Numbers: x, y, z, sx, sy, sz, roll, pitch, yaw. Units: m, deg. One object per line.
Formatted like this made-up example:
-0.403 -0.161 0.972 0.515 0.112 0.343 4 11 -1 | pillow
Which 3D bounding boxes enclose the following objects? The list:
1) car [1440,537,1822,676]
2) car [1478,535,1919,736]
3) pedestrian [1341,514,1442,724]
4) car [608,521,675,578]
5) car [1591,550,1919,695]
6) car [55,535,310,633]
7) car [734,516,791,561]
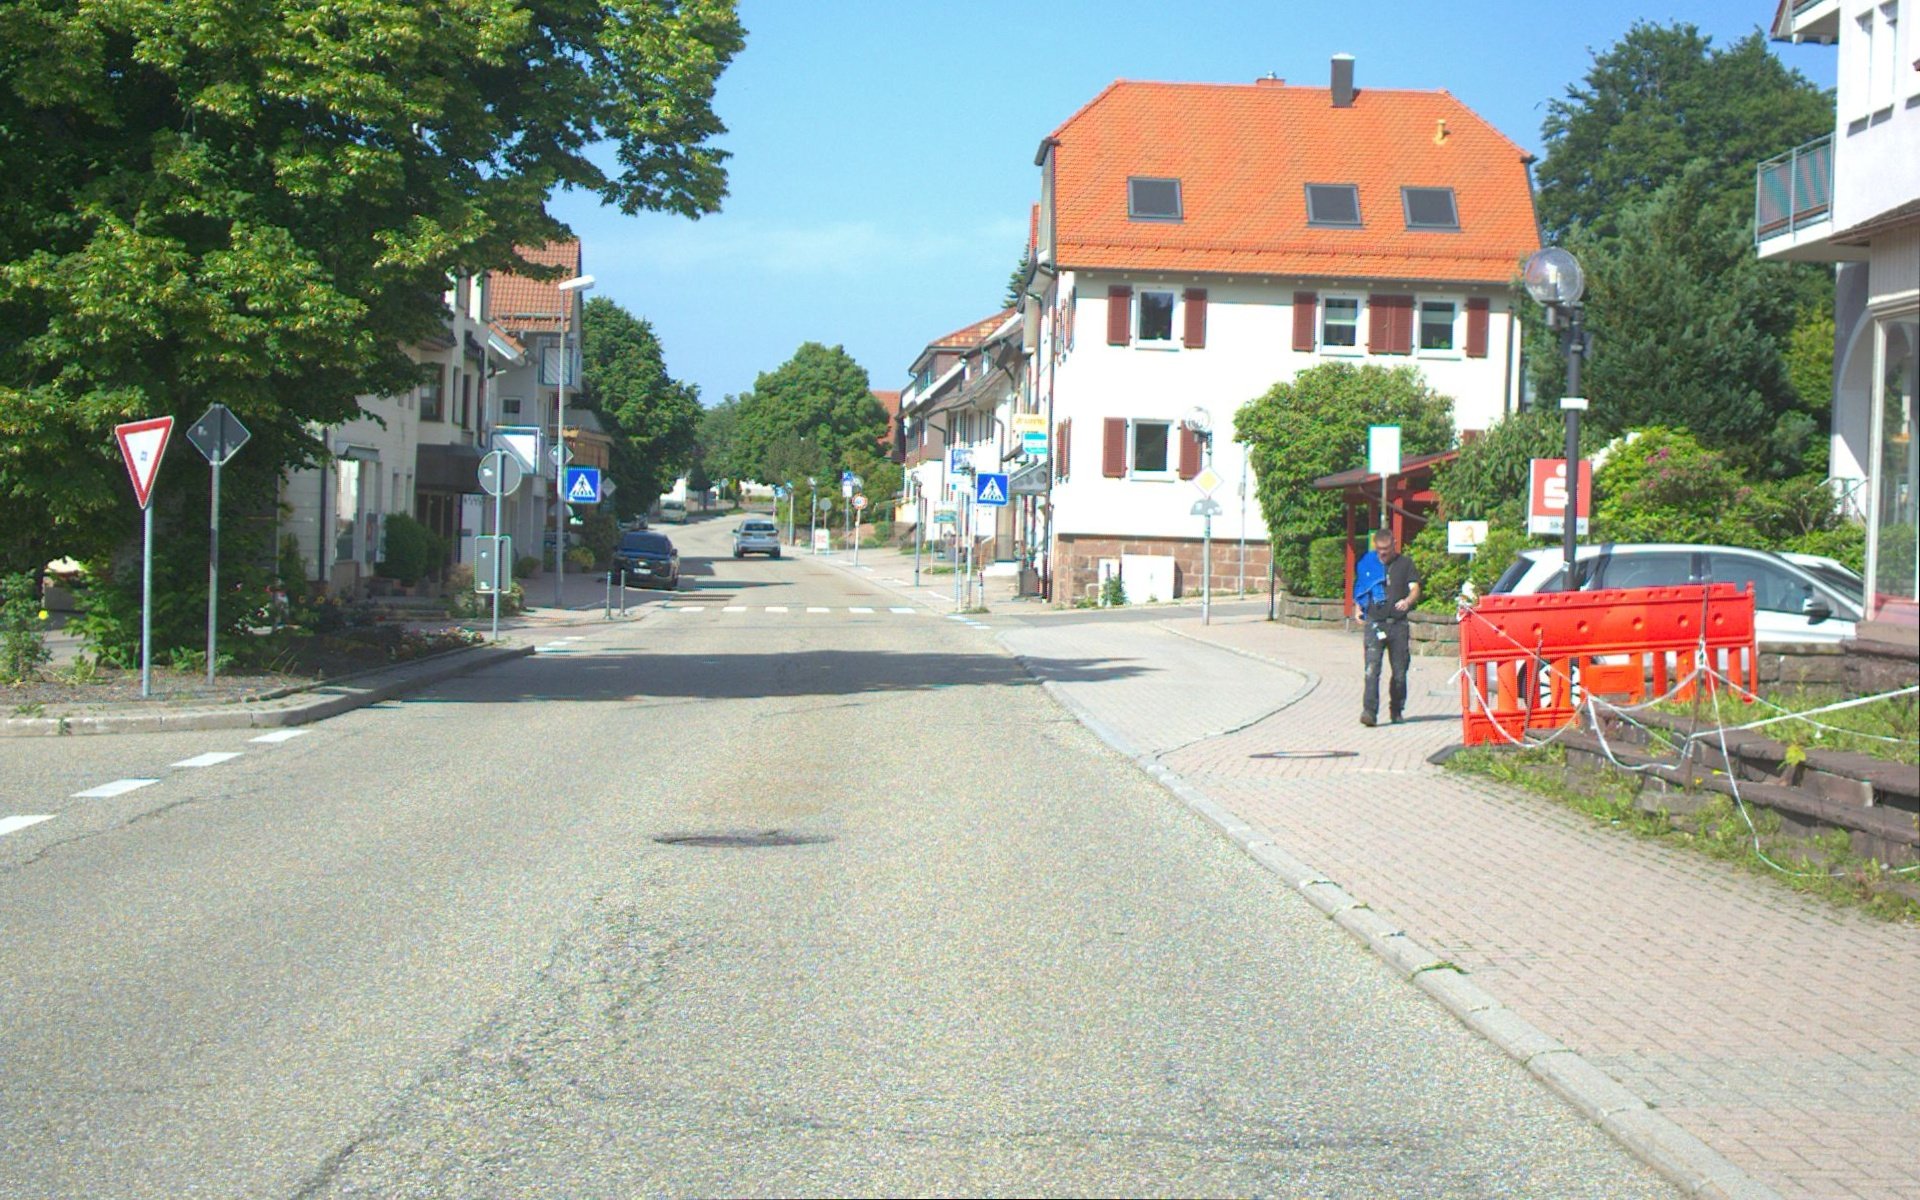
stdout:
7.566 0.054 39.033 3.987 1.543 1.881 0 1 1 | car
6.332 0.263 28.697 3.864 1.553 1.962 1 1 11 | car
3.711 0.149 29.644 0.799 1.778 0.979 0 1 3 | pedestrian
-9.574 -1.527 103.567 1.672 1.528 3.536 5 1 -2 | car
8.313 0.217 35.989 3.234 1.464 1.628 0 1 6 | car
-13.095 -0.249 57.998 3.761 1.449 1.816 -1 -4 11 | car
-9.222 -2.849 160.200 2.495 2.007 4.305 -1 1 -4 | car
